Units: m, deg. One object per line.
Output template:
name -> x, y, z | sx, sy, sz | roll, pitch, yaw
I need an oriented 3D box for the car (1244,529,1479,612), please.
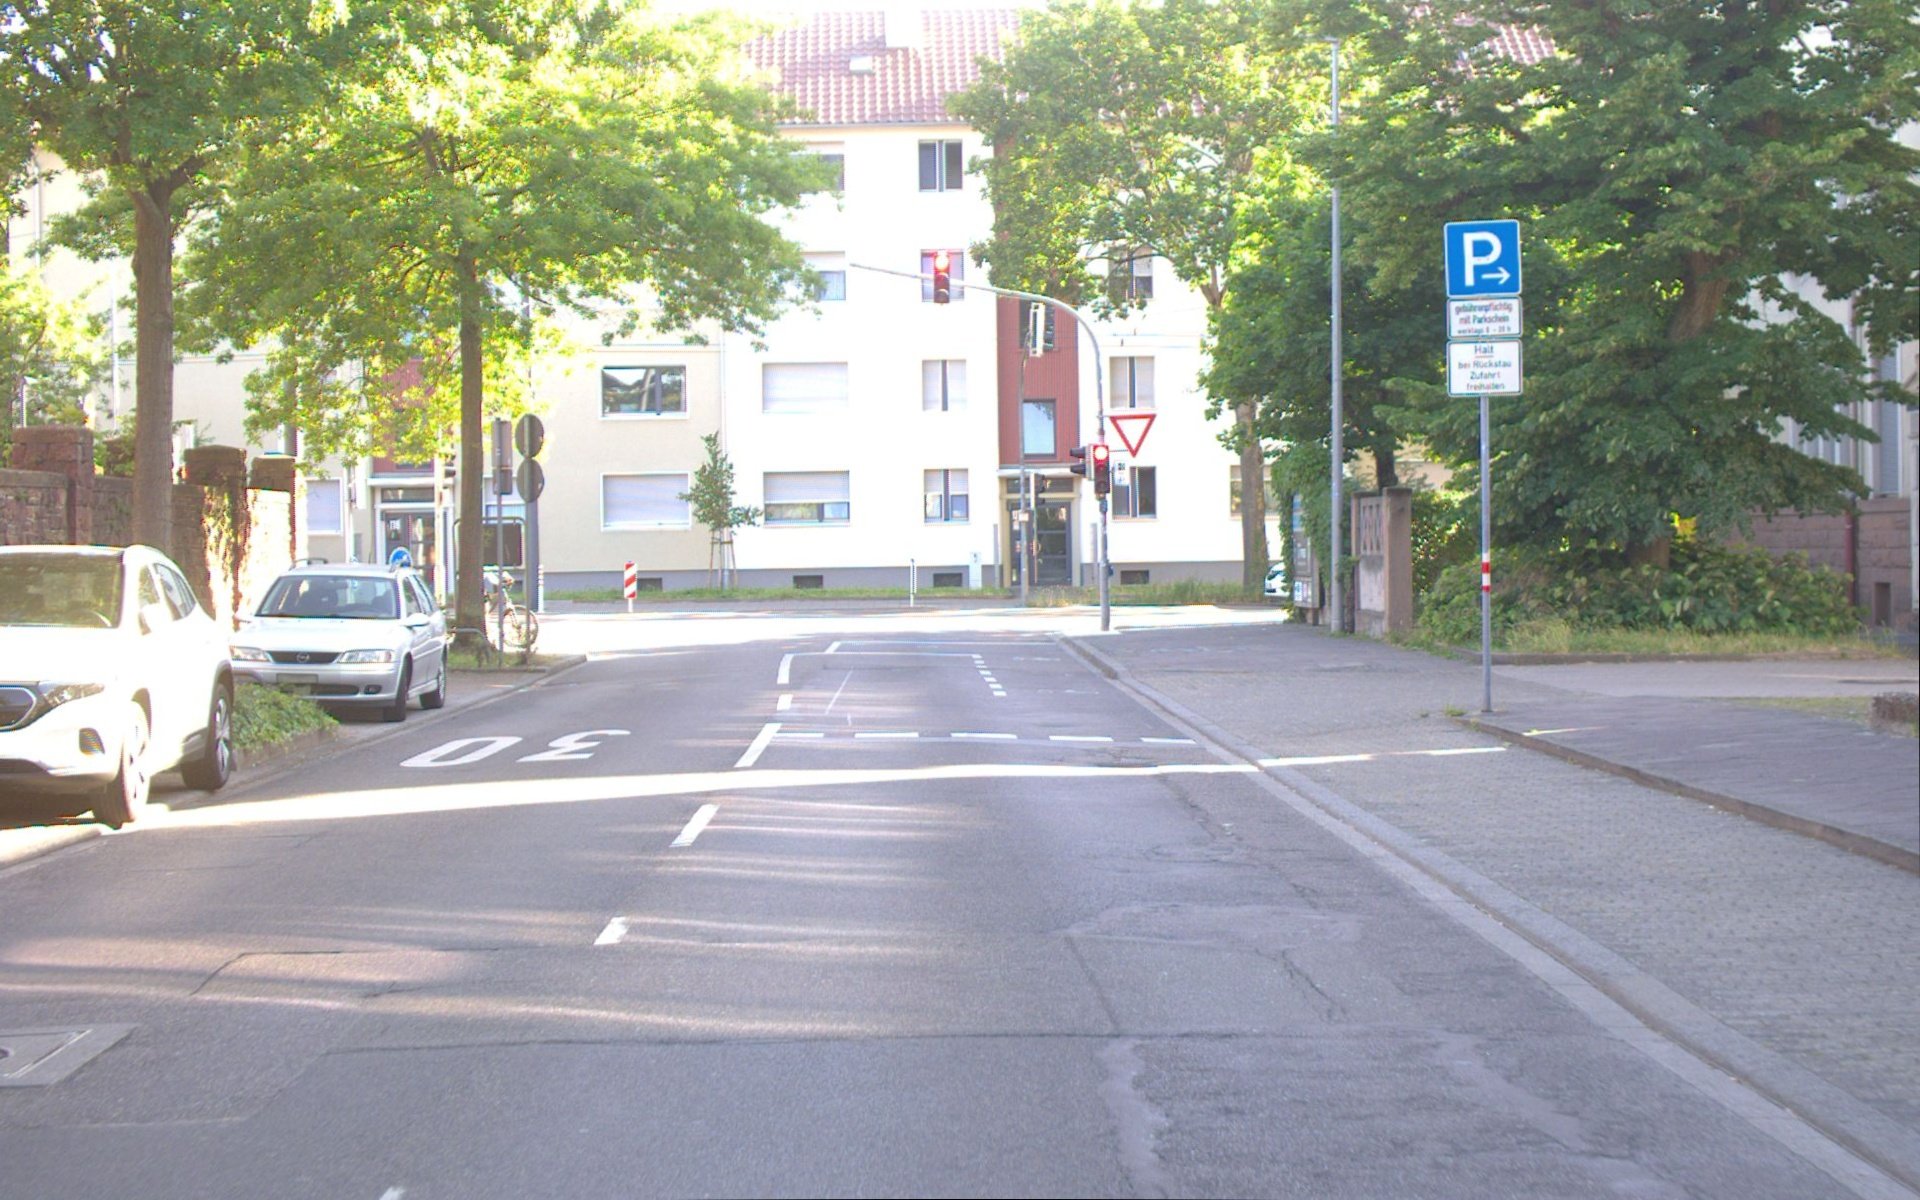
car -> 8.713, -0.664, 74.716 | 4.660, 1.733, 2.001 | -1, 1, -13

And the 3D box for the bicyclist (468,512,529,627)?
bicyclist -> -7.108, -0.479, 52.910 | 0.786, 1.751, 0.612 | -1, 1, -23

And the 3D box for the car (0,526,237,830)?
car -> -5.700, 0.398, 21.178 | 1.720, 1.678, 4.351 | -1, 1, -2

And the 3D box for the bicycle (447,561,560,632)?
bicycle -> -7.036, -0.065, 52.975 | 1.683, 1.076, 0.351 | 0, 1, -21

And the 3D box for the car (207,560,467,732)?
car -> -5.867, 0.381, 32.822 | 1.726, 1.470, 4.478 | 1, 1, -1
